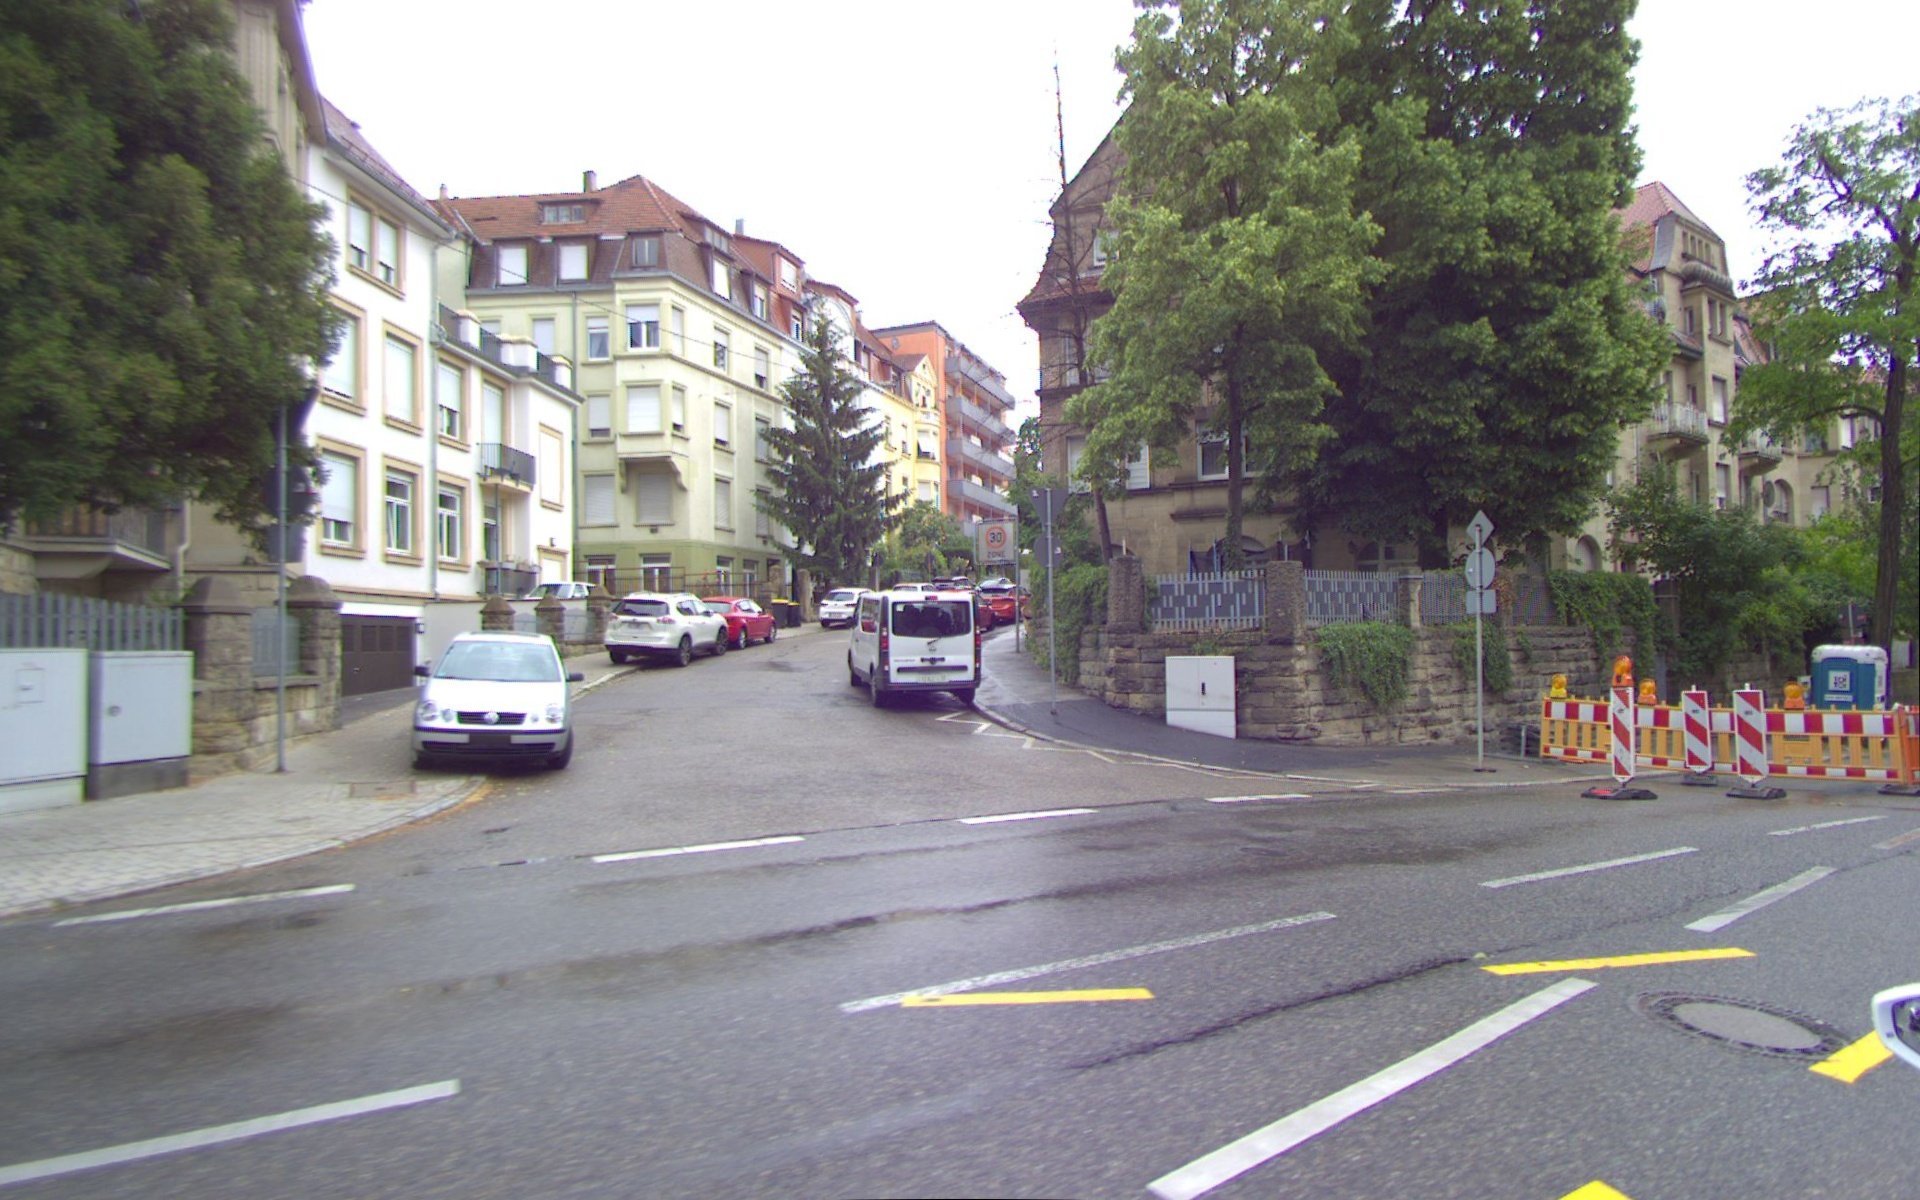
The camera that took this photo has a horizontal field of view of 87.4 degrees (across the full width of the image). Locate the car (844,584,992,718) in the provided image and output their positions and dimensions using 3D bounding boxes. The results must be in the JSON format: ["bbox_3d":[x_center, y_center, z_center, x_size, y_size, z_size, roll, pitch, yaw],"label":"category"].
[{"bbox_3d":[-0.954,0.833,19.267,1.991,2.076,4.665,1,3,-13],"label":"car"}]

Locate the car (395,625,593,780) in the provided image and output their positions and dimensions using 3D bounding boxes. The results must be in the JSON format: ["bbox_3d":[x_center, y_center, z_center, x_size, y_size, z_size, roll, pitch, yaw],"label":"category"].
[{"bbox_3d":[-5.606,1.158,12.400,1.800,1.427,3.854,5,-1,-22],"label":"car"}]

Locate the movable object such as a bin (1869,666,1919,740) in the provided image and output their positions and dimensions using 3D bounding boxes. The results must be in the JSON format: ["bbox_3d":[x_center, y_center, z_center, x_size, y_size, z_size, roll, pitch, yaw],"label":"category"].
[{"bbox_3d":[31.140,3.309,32.338,2.783,2.329,1.984,3,-4,-31],"label":"movable object such as a bin"}]

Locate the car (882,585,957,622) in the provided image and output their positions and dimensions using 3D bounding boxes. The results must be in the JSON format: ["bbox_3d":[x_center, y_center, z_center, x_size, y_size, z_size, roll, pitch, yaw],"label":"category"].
[{"bbox_3d":[-1.728,0.129,44.763,1.814,1.477,4.157,4,2,20],"label":"car"}]

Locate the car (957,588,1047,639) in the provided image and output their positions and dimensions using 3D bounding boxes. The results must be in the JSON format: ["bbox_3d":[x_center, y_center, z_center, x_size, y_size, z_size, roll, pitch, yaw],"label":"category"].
[{"bbox_3d":[1.659,0.515,38.096,2.072,1.649,4.443,4,0,20],"label":"car"}]

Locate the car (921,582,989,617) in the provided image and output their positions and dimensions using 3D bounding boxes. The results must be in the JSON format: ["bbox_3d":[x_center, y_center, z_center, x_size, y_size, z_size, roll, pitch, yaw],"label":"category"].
[{"bbox_3d":[-0.189,-0.068,49.697,1.882,1.531,4.247,4,3,20],"label":"car"}]

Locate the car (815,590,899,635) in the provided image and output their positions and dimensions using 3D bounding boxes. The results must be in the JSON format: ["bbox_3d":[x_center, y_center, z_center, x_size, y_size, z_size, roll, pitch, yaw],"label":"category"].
[{"bbox_3d":[-3.978,0.445,39.539,1.717,1.527,4.159,4,2,17],"label":"car"}]

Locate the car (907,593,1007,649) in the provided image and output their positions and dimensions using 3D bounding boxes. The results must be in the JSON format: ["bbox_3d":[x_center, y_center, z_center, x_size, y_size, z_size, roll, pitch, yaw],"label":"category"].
[{"bbox_3d":[-0.007,0.670,33.090,1.993,1.555,4.444,4,0,17],"label":"car"}]

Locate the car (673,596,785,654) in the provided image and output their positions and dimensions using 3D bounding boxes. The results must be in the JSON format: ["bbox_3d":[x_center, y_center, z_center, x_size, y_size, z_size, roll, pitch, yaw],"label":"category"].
[{"bbox_3d":[-6.883,0.750,30.307,1.881,1.493,3.838,4,-1,9],"label":"car"}]

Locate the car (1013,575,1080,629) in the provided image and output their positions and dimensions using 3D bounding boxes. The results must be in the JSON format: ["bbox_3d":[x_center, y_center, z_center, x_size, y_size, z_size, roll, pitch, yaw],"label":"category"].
[{"bbox_3d":[3.755,0.085,43.256,1.761,2.068,3.936,5,1,20],"label":"car"}]

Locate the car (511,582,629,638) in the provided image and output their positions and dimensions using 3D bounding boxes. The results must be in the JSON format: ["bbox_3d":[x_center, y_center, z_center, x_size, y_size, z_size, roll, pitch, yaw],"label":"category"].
[{"bbox_3d":[-11.899,0.331,30.911,1.740,1.494,3.838,4,-1,6],"label":"car"}]

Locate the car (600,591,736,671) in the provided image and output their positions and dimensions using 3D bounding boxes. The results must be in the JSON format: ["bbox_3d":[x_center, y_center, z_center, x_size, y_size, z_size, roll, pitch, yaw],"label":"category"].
[{"bbox_3d":[-7.234,0.761,25.348,1.882,1.696,4.160,4,-1,4],"label":"car"}]
